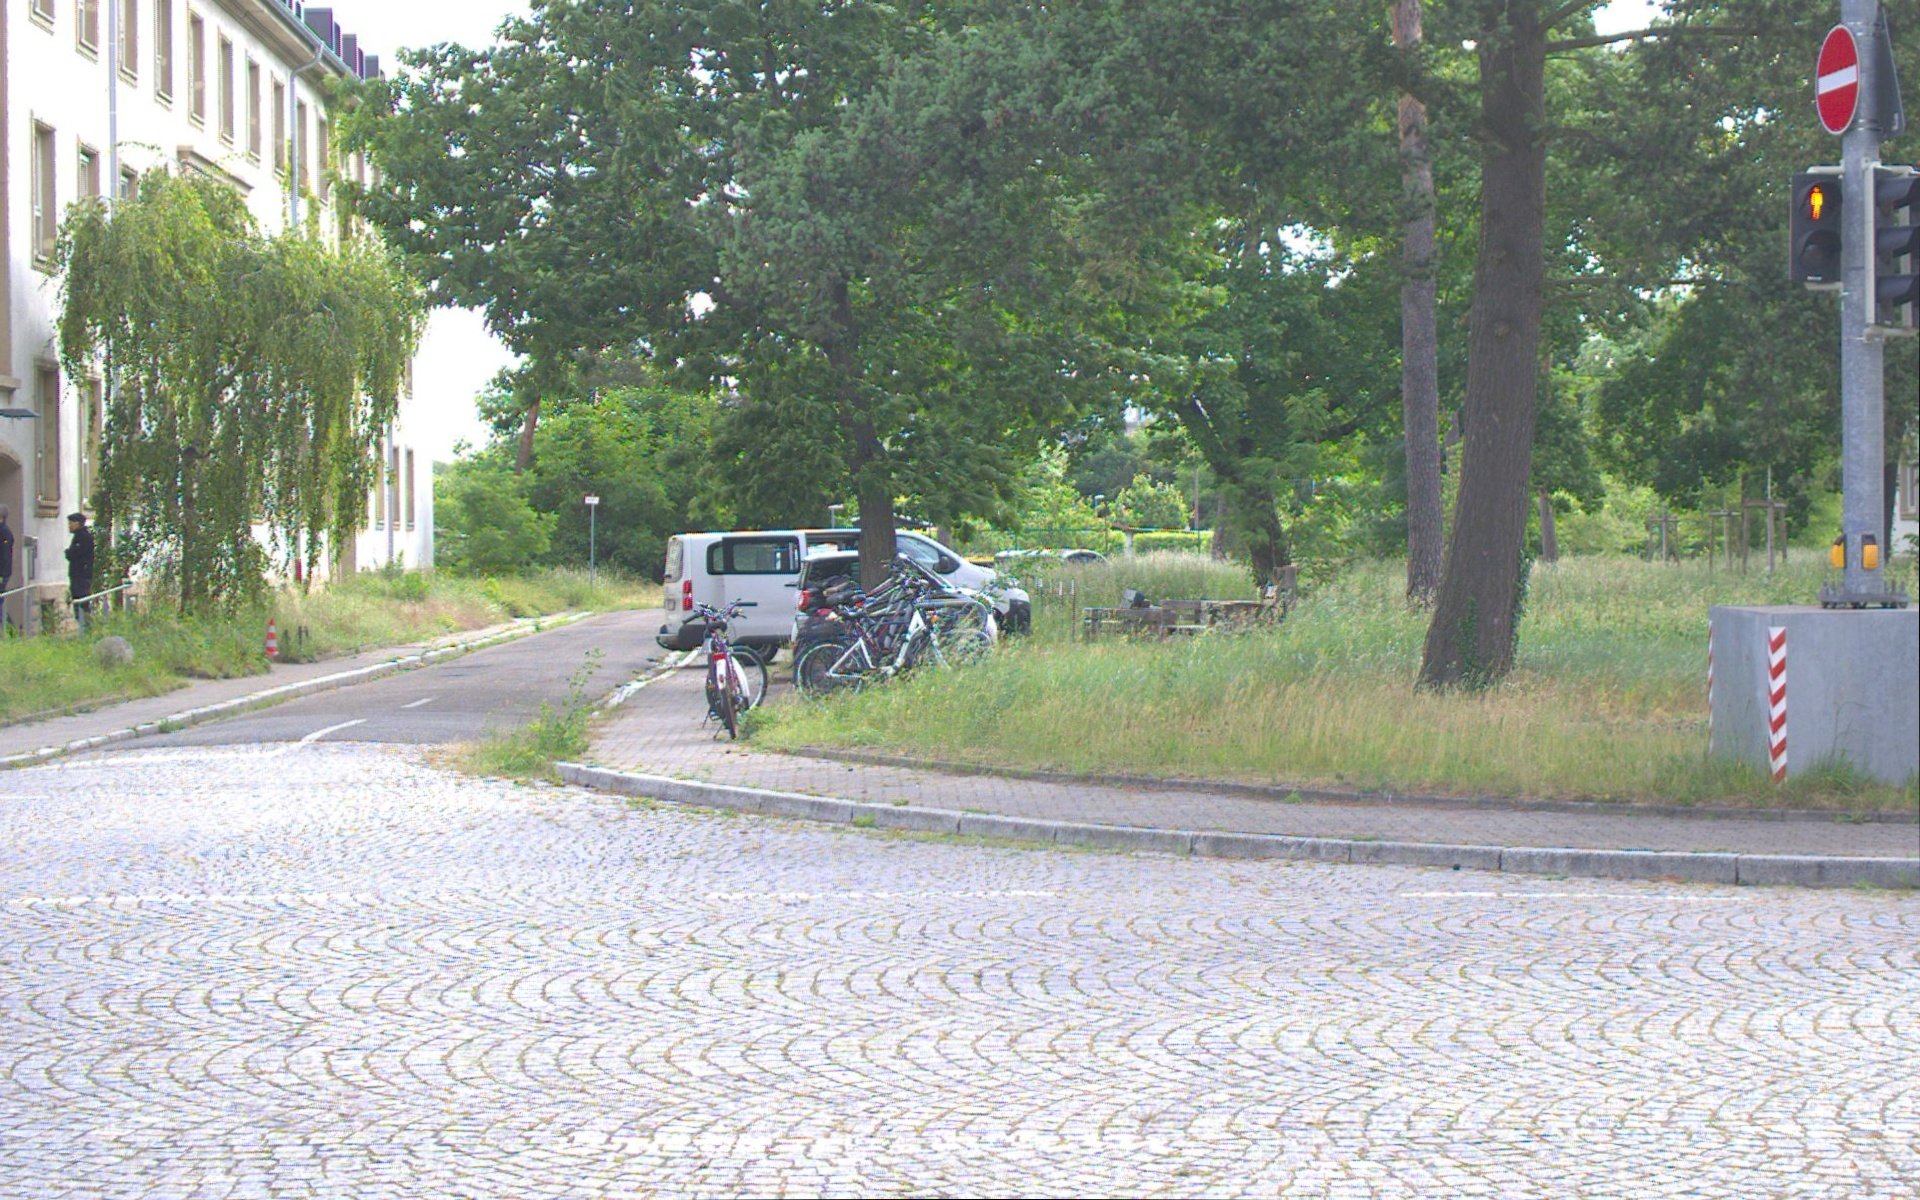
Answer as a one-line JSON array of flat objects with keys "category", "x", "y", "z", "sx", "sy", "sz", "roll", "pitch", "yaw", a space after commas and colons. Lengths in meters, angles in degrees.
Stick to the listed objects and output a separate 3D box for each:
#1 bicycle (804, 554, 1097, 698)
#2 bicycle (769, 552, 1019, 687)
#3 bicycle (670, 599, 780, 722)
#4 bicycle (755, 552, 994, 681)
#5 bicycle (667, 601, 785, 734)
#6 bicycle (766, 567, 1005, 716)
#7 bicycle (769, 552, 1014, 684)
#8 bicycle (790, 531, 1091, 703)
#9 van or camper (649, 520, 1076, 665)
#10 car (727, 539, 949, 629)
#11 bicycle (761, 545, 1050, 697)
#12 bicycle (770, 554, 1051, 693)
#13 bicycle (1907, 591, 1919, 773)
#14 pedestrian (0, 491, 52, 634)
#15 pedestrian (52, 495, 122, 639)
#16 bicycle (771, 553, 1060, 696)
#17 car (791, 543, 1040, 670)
[{"category": "bicycle", "x": -0.106, "y": 0.242, "z": 33.480, "sx": 2.802, "sy": 1.367, "sz": 0.951, "roll": 0, "pitch": 1, "yaw": -2}, {"category": "bicycle", "x": -0.699, "y": 0.189, "z": 35.855, "sx": 2.567, "sy": 1.367, "sz": 0.951, "roll": 0, "pitch": 1, "yaw": -3}, {"category": "bicycle", "x": -2.016, "y": 0.507, "z": 29.728, "sx": 0.727, "sy": 0.993, "sz": 1.979, "roll": 0, "pitch": 1, "yaw": 2}, {"category": "bicycle", "x": -0.940, "y": 0.174, "z": 37.527, "sx": 2.567, "sy": 1.367, "sz": 0.951, "roll": 0, "pitch": 1, "yaw": -3}, {"category": "bicycle", "x": -1.862, "y": 0.524, "z": 27.639, "sx": 0.900, "sy": 0.993, "sz": 1.979, "roll": 0, "pitch": 1, "yaw": -3}, {"category": "bicycle", "x": -0.680, "y": 0.362, "z": 31.051, "sx": 2.113, "sy": 1.302, "sz": 0.874, "roll": 0, "pitch": 1, "yaw": -2}, {"category": "bicycle", "x": -0.744, "y": 0.182, "z": 36.694, "sx": 2.567, "sy": 1.367, "sz": 0.951, "roll": 0, "pitch": 1, "yaw": -3}, {"category": "bicycle", "x": -0.200, "y": 0.153, "z": 32.545, "sx": 2.802, "sy": 1.578, "sz": 0.951, "roll": 0, "pitch": 1, "yaw": -2}, {"category": "van or camper", "x": -1.413, "y": -0.135, "z": 49.157, "sx": 5.740, "sy": 1.950, "sz": 2.238, "roll": -1, "pitch": 1, "yaw": -14}, {"category": "car", "x": -2.264, "y": -0.307, "z": 62.963, "sx": 3.986, "sy": 1.594, "sz": 1.704, "roll": -1, "pitch": 1, "yaw": -4}, {"category": "bicycle", "x": -0.514, "y": 0.184, "z": 31.666, "sx": 2.619, "sy": 1.362, "sz": 0.874, "roll": 0, "pitch": 1, "yaw": -2}, {"category": "bicycle", "x": -0.516, "y": 0.227, "z": 34.897, "sx": 2.802, "sy": 1.367, "sz": 0.951, "roll": 0, "pitch": 1, "yaw": -2}, {"category": "bicycle", "x": 5.949, "y": 0.468, "z": 19.137, "sx": 0.644, "sy": 1.059, "sz": 1.834, "roll": -4, "pitch": 1, "yaw": -5}, {"category": "pedestrian", "x": -12.686, "y": -0.500, "z": 45.581, "sx": 1.194, "sy": 1.863, "sz": 1.550, "roll": 1, "pitch": 0, "yaw": -13}, {"category": "pedestrian", "x": -11.883, "y": -0.449, "z": 46.812, "sx": 0.865, "sy": 1.925, "sz": 0.837, "roll": 1, "pitch": 0, "yaw": -13}, {"category": "bicycle", "x": -0.453, "y": 0.234, "z": 34.004, "sx": 2.802, "sy": 1.367, "sz": 0.951, "roll": 0, "pitch": 1, "yaw": -2}, {"category": "car", "x": -0.626, "y": 0.078, "z": 45.666, "sx": 3.224, "sy": 1.615, "sz": 1.938, "roll": 1, "pitch": 0, "yaw": -3}]
